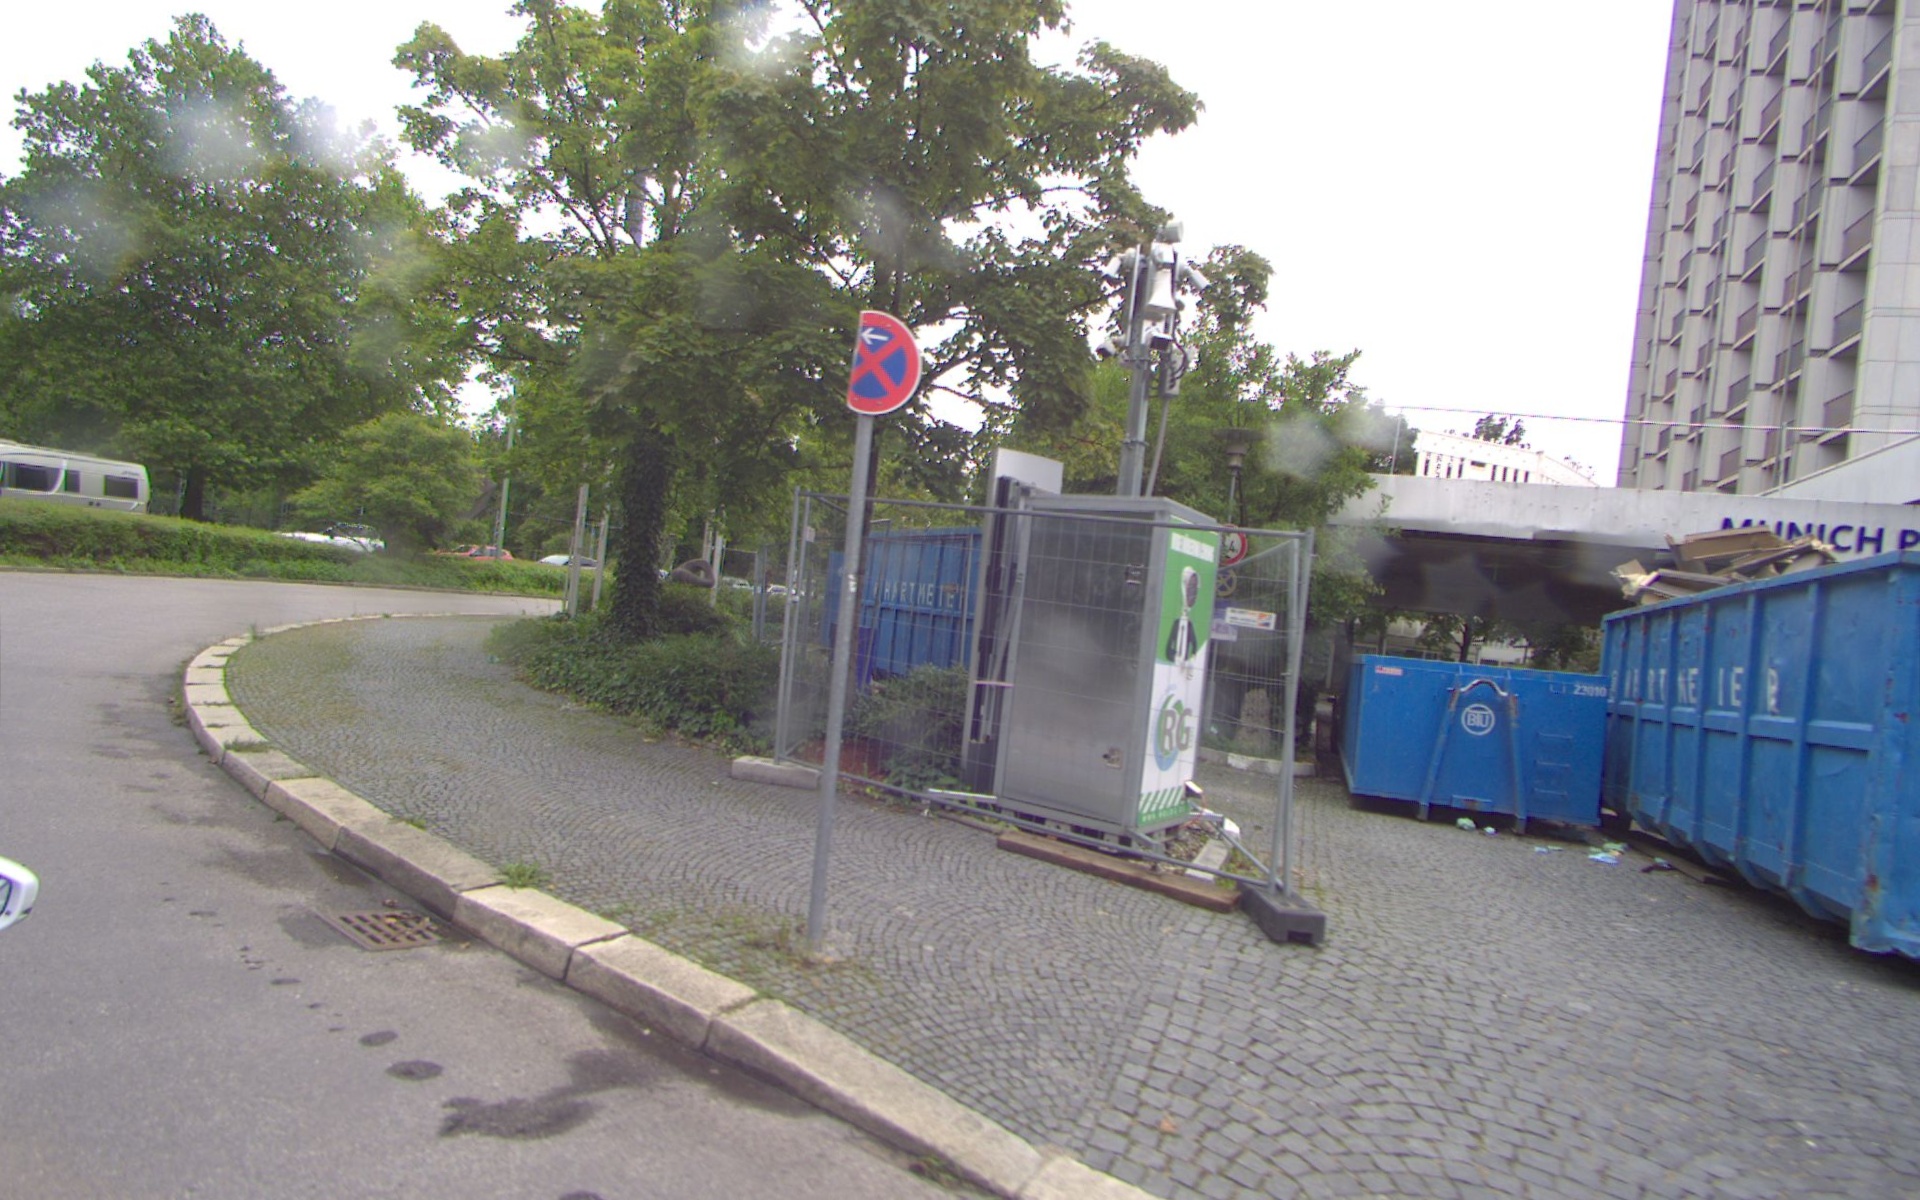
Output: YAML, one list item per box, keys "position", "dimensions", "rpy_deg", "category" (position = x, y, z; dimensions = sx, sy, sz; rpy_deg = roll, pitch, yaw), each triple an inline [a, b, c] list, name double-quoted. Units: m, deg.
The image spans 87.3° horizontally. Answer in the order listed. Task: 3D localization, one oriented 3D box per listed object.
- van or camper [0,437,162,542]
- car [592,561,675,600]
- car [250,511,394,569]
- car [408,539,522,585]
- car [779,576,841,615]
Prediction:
- position: [-25.800, -3.147, 27.470]
  dimensions: [2.212, 2.309, 6.423]
  rpy_deg: [7, -1, 6]
  category: "van or camper"
- position: [-17.285, -0.982, 53.395]
  dimensions: [1.963, 1.593, 3.999]
  rpy_deg: [7, 0, 21]
  category: "car"
- position: [-23.428, -2.161, 37.122]
  dimensions: [1.963, 1.526, 3.999]
  rpy_deg: [7, 0, 21]
  category: "car"
- position: [-21.073, -1.582, 43.027]
  dimensions: [1.963, 1.426, 3.999]
  rpy_deg: [7, 0, 21]
  category: "car"
- position: [-10.538, -0.302, 71.157]
  dimensions: [2.165, 2.254, 4.871]
  rpy_deg: [7, 0, 19]
  category: "car"
